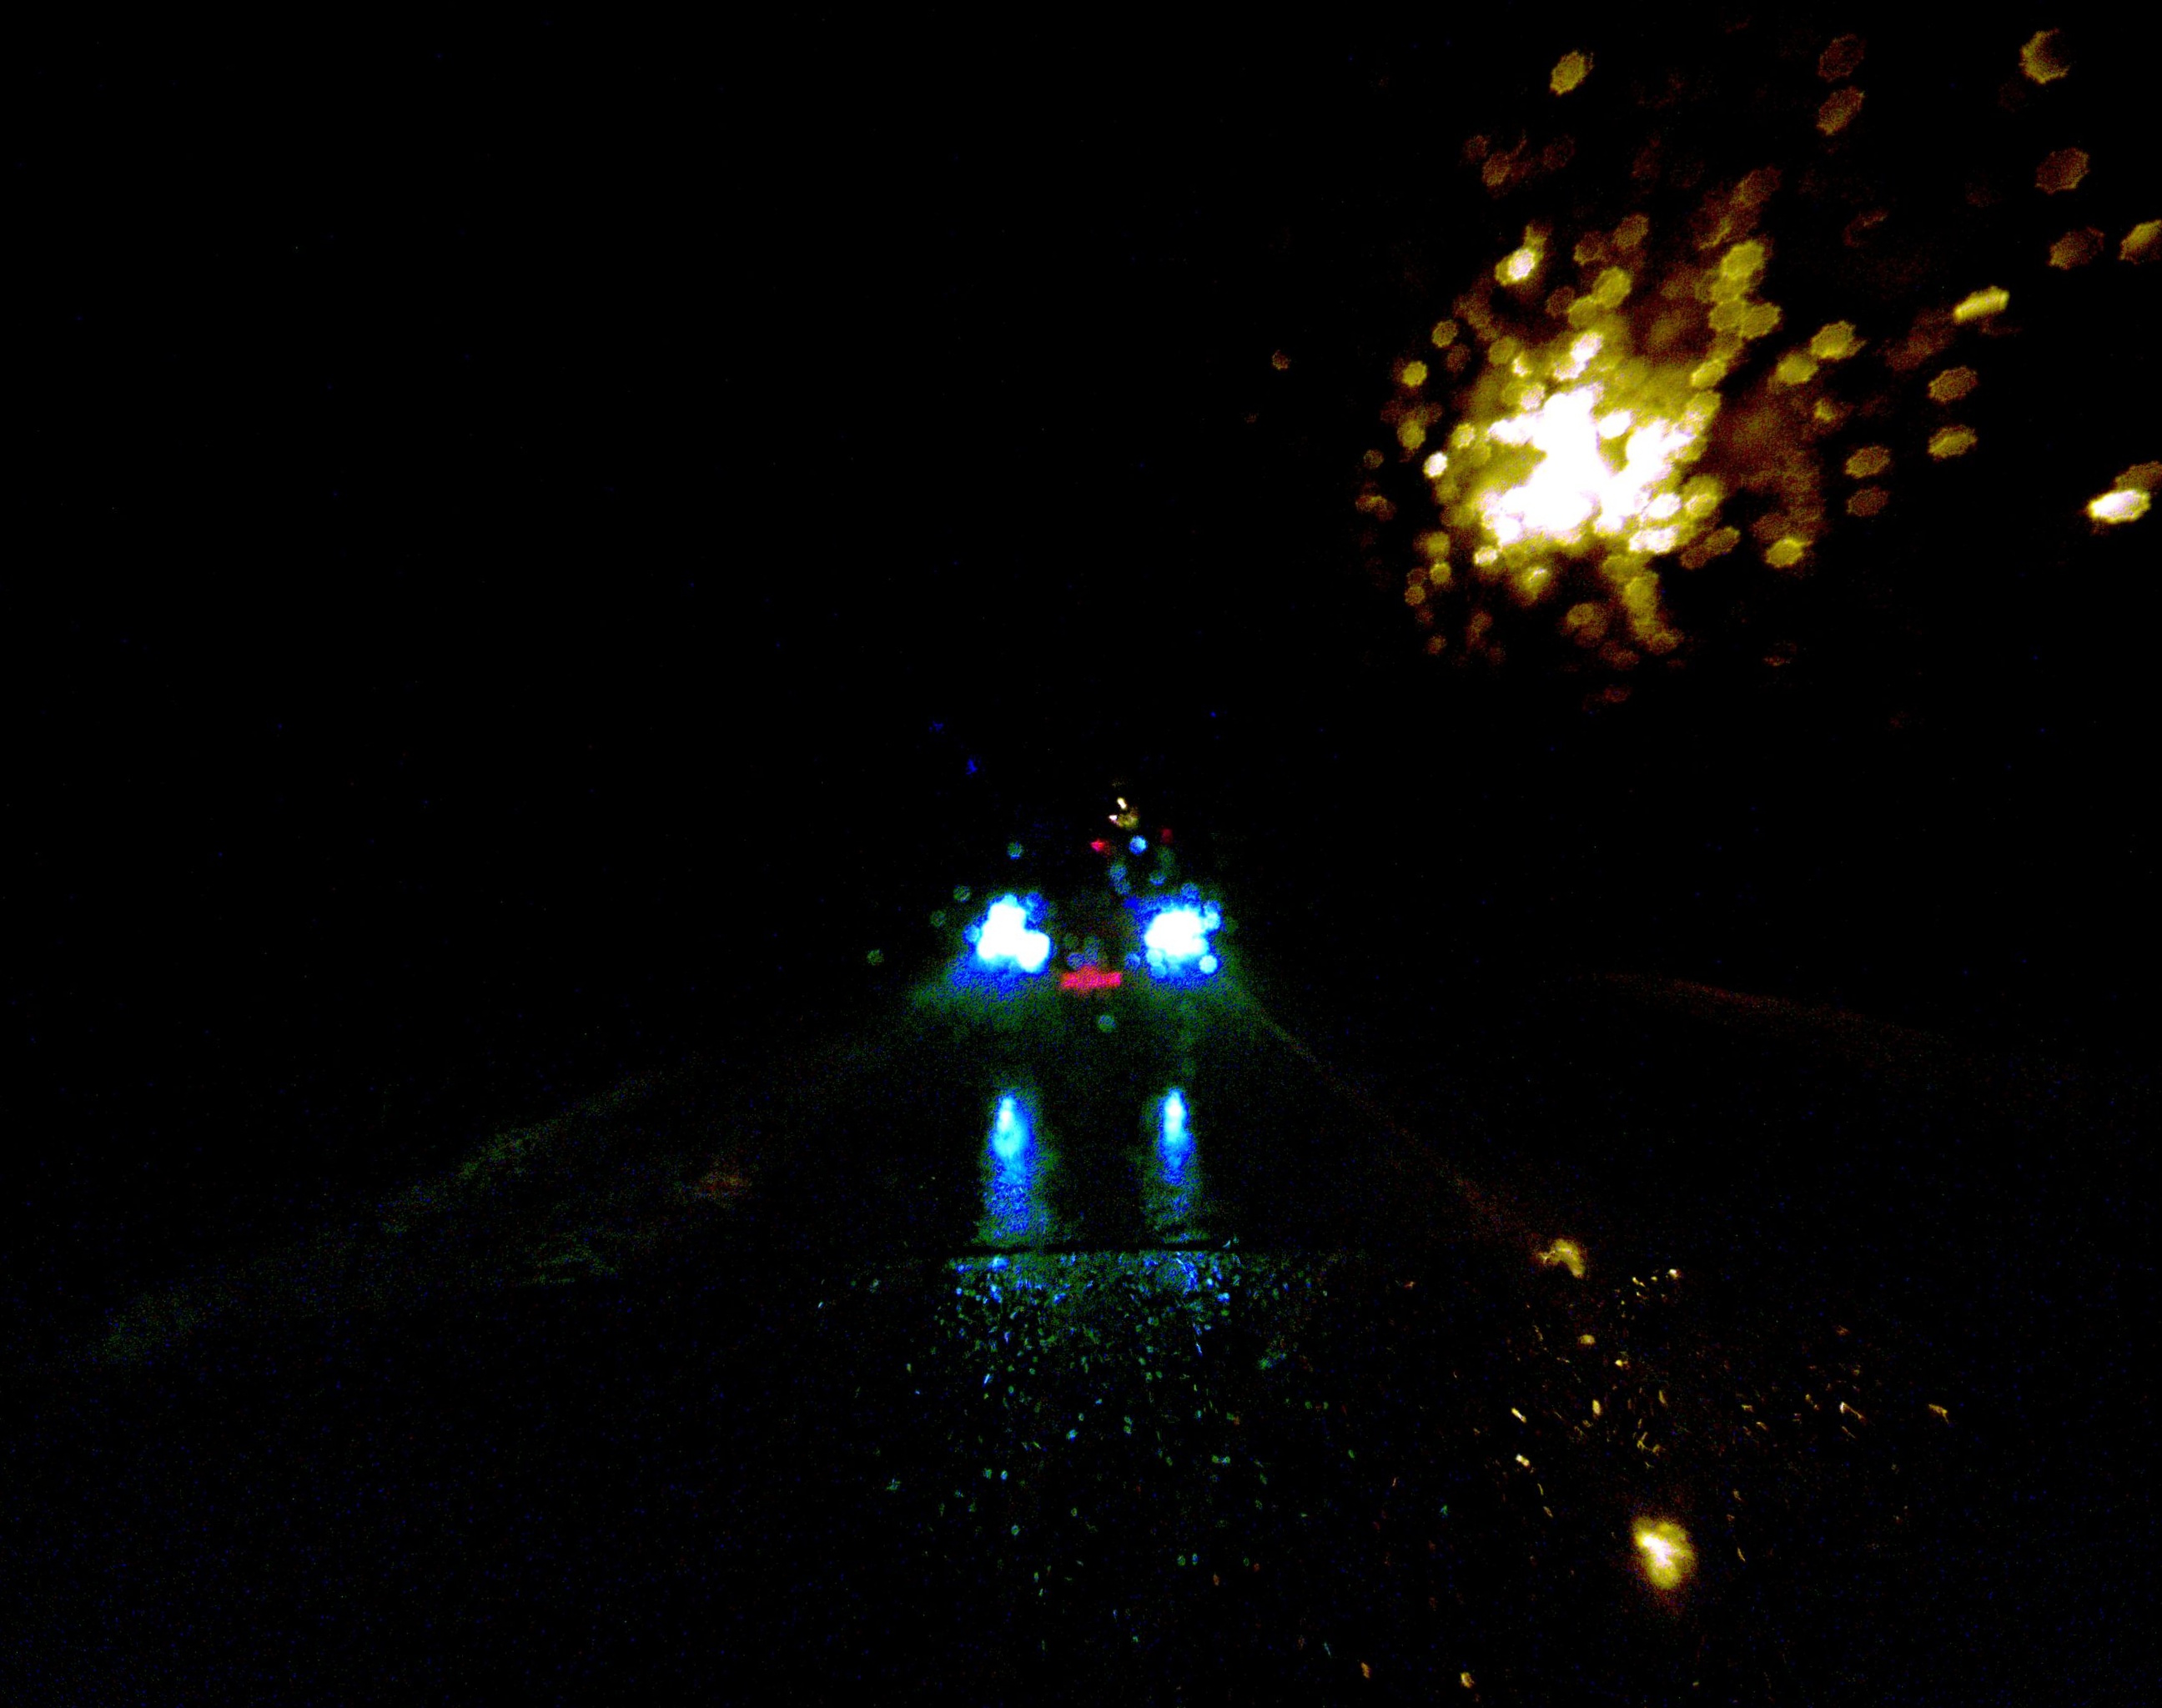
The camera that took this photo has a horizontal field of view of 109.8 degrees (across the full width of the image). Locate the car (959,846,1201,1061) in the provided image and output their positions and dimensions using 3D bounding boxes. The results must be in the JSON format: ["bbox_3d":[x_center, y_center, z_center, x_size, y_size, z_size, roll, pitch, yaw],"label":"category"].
[{"bbox_3d":[0.093,0.782,8.213,1.893,1.678,4.340,-1,1,3],"label":"car"}]
